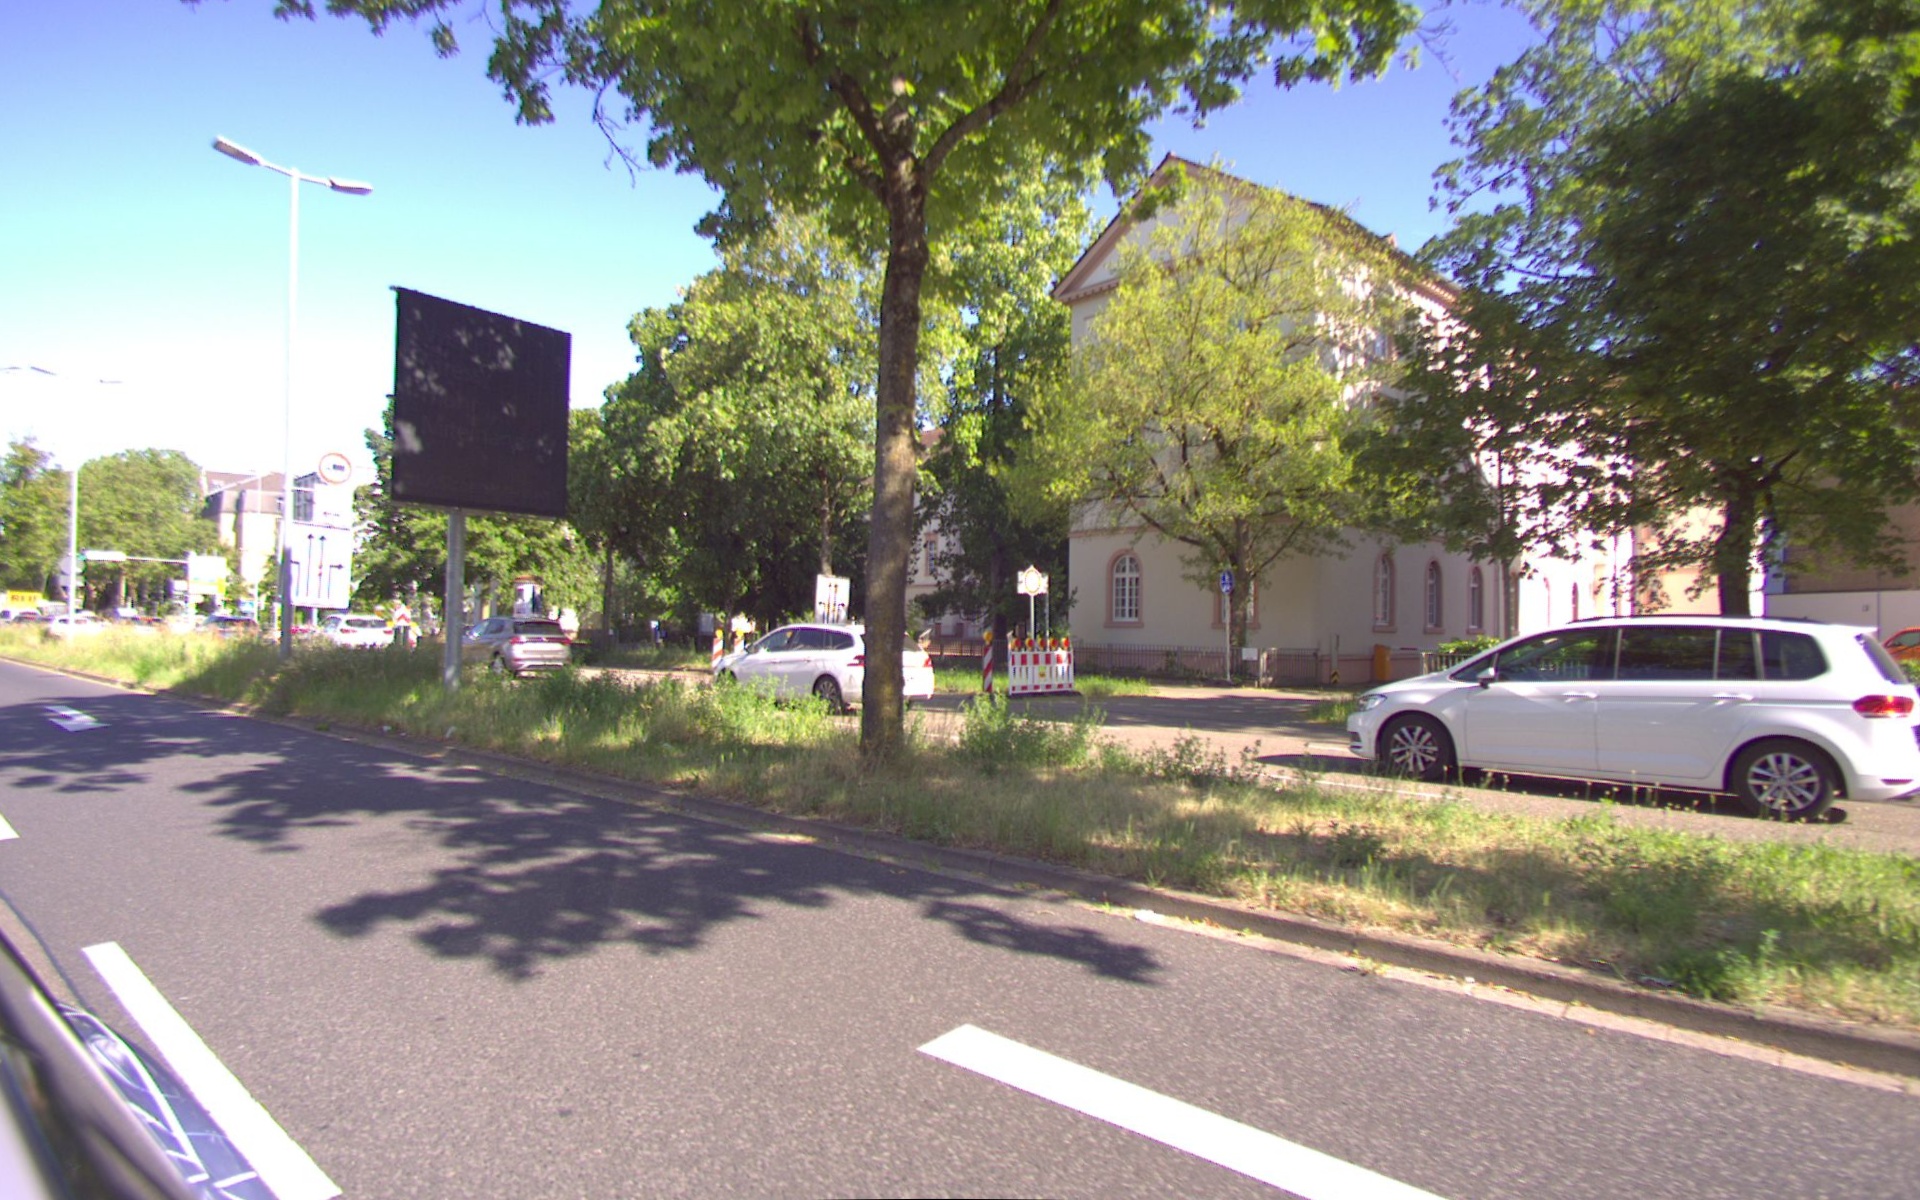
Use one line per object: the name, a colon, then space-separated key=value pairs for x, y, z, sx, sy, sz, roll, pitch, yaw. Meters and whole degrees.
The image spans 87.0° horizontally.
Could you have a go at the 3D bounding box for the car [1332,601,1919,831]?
car: x=6.031 y=0.885 z=9.311 sx=4.538 sy=1.638 sz=1.879 roll=-1 pitch=-3 yaw=44

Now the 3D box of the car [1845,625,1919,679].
car: x=36.128 y=1.931 z=37.499 sx=1.970 sy=1.972 sz=4.797 roll=3 pitch=-5 yaw=-43

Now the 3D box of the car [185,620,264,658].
car: x=-31.775 y=1.645 z=43.667 sx=4.442 sy=1.530 sz=1.777 roll=0 pitch=-2 yaw=41

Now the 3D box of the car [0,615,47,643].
car: x=-55.613 y=1.699 z=59.937 sx=4.344 sy=1.530 sz=1.777 roll=0 pitch=0 yaw=41

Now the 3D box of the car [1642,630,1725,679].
car: x=30.442 y=2.246 z=42.523 sx=3.939 sy=1.807 sz=2.003 roll=1 pitch=1 yaw=-42

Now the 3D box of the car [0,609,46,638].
car: x=-69.665 y=1.720 z=75.006 sx=5.014 sy=2.043 sz=2.210 roll=-1 pitch=-2 yaw=41

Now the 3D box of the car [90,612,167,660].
car: x=-33.624 y=1.412 z=40.886 sx=4.322 sy=1.630 sz=1.734 roll=3 pitch=2 yaw=42

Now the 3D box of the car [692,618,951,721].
car: x=-2.475 y=1.103 z=17.291 sx=4.666 sy=1.530 sz=1.819 roll=-1 pitch=-3 yaw=43

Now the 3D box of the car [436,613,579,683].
car: x=-11.683 y=1.164 z=26.009 sx=4.257 sy=1.530 sz=1.777 roll=1 pitch=0 yaw=42

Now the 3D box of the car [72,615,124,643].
car: x=-56.352 y=1.852 z=66.111 sx=5.029 sy=1.756 sz=1.777 roll=-1 pitch=-2 yaw=41

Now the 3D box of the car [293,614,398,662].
car: x=-20.776 y=1.246 z=34.161 sx=4.255 sy=1.530 sz=1.777 roll=-1 pitch=-2 yaw=41

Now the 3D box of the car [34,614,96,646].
car: x=-45.079 y=1.488 z=50.958 sx=4.202 sy=1.530 sz=1.777 roll=-1 pitch=-2 yaw=41
